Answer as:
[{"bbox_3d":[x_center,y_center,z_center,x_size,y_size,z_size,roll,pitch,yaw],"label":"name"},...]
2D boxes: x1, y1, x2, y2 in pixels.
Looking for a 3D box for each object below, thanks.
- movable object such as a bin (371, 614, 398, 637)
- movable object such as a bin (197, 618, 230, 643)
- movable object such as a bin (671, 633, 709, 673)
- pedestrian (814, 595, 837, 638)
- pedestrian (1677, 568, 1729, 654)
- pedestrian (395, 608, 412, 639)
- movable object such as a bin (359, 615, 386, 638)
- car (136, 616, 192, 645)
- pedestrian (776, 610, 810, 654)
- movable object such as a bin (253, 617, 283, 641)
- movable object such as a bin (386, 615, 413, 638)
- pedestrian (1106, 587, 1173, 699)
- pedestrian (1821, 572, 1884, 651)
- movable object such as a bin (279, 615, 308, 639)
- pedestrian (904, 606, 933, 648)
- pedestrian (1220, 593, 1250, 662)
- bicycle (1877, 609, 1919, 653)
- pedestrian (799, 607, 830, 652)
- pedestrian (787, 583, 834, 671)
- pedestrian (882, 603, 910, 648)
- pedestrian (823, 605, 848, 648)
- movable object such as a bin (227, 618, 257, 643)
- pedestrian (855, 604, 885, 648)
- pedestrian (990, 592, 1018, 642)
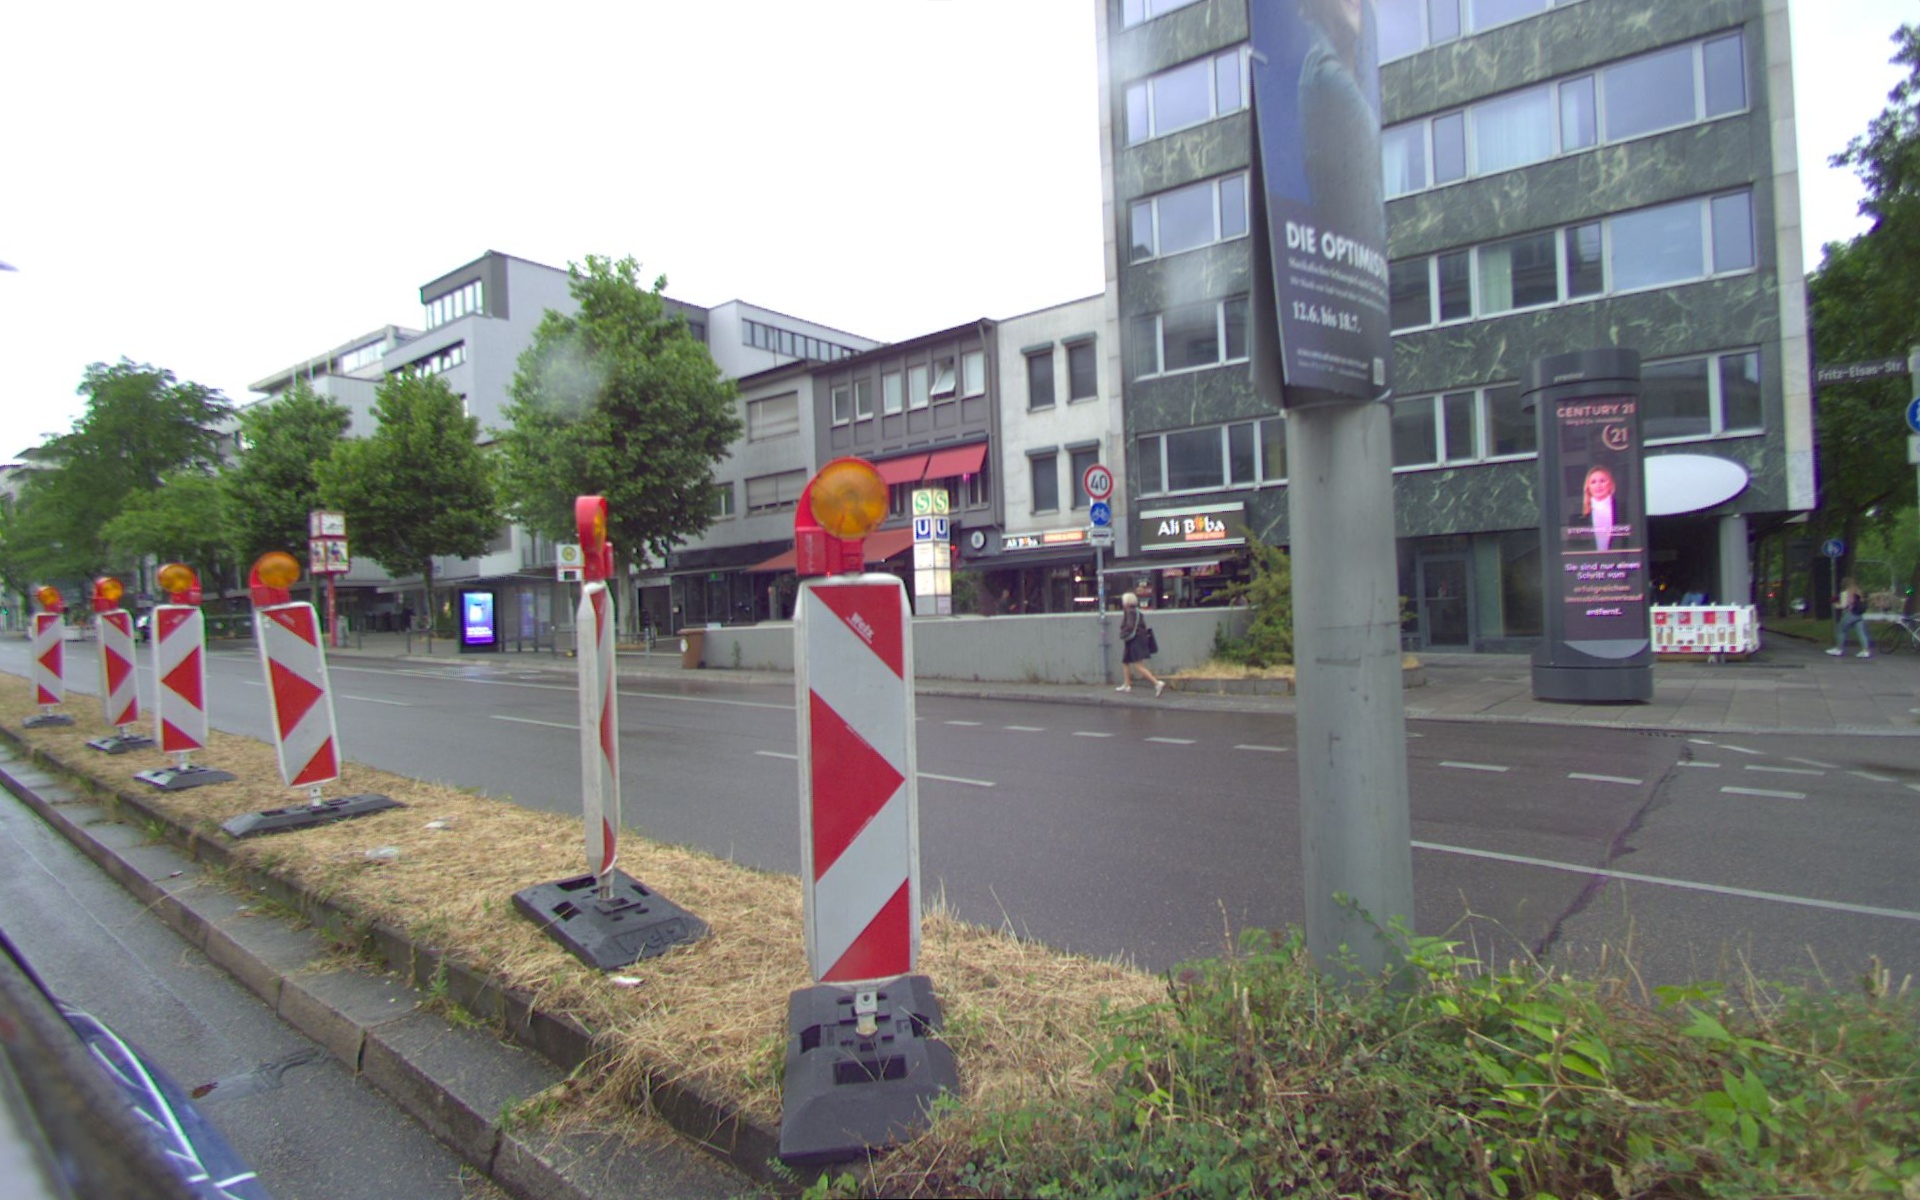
[{"bbox_3d":[-37.954,1.686,66.740,1.278,1.446,1.077,-1,-1,32],"label":"movable object such as a bin"},{"bbox_3d":[-44.244,1.823,60.003,1.088,1.437,1.345,-2,-1,41],"label":"movable object such as a bin"},{"bbox_3d":[-6.281,1.227,23.537,0.680,0.904,0.527,-1,-2,32],"label":"movable object such as a bin"},{"bbox_3d":[-4.992,0.622,37.433,0.603,1.582,0.591,-1,-1,31],"label":"pedestrian"},{"bbox_3d":[16.624,0.250,22.654,0.875,1.868,1.012,-2,-1,37],"label":"pedestrian"},{"bbox_3d":[-31.640,1.335,57.567,0.653,1.776,0.688,-1,-1,43],"label":"pedestrian"},{"bbox_3d":[-39.240,1.769,67.596,1.278,1.446,1.077,-1,-1,32],"label":"movable object such as a bin"},{"bbox_3d":[-48.073,1.834,61.081,4.019,1.648,1.761,-2,-1,38],"label":"car"},{"bbox_3d":[-5.647,1.069,34.186,0.912,1.461,0.683,-2,-1,37],"label":"pedestrian"},{"bbox_3d":[-42.494,1.748,62.138,1.088,1.437,1.265,-2,-1,41],"label":"movable object such as a bin"},{"bbox_3d":[-36.650,1.749,66.147,1.278,1.446,1.077,-1,-1,32],"label":"movable object such as a bin"},{"bbox_3d":[2.756,0.647,15.547,0.757,1.665,0.683,-2,-1,37],"label":"pedestrian"},{"bbox_3d":[18.687,0.261,21.213,0.922,1.597,0.822,-2,-5,41],"label":"pedestrian"},{"bbox_3d":[-41.604,1.674,63.192,1.088,1.499,1.265,-2,-1,41],"label":"movable object such as a bin"},{"bbox_3d":[-1.361,0.879,32.869,0.690,1.354,0.627,-2,-1,34],"label":"pedestrian"},{"bbox_3d":[7.767,0.770,28.573,0.590,1.899,0.749,-2,-1,34],"label":"pedestrian"},{"bbox_3d":[20.854,0.661,21.622,0.468,0.941,1.803,0,-1,-39],"label":"bicycle"},{"bbox_3d":[-4.818,0.980,33.570,0.706,1.461,0.683,-2,-1,37],"label":"pedestrian"},{"bbox_3d":[-3.332,0.591,22.540,0.757,1.899,0.683,-2,-1,37],"label":"pedestrian"},{"bbox_3d":[-2.106,0.840,33.320,0.690,1.461,0.627,-2,-1,34],"label":"pedestrian"},{"bbox_3d":[-4.348,0.930,35.412,0.546,1.461,0.683,-2,-1,37],"label":"pedestrian"},{"bbox_3d":[-43.331,1.830,61.095,1.088,1.437,1.265,-2,-1,41],"label":"movable object such as a bin"},{"bbox_3d":[-3.040,0.864,34.347,0.690,1.461,0.720,-2,-1,34],"label":"pedestrian"},{"bbox_3d":[1.308,0.496,30.140,0.587,1.461,0.597,-2,-1,36],"label":"pedestrian"}]
